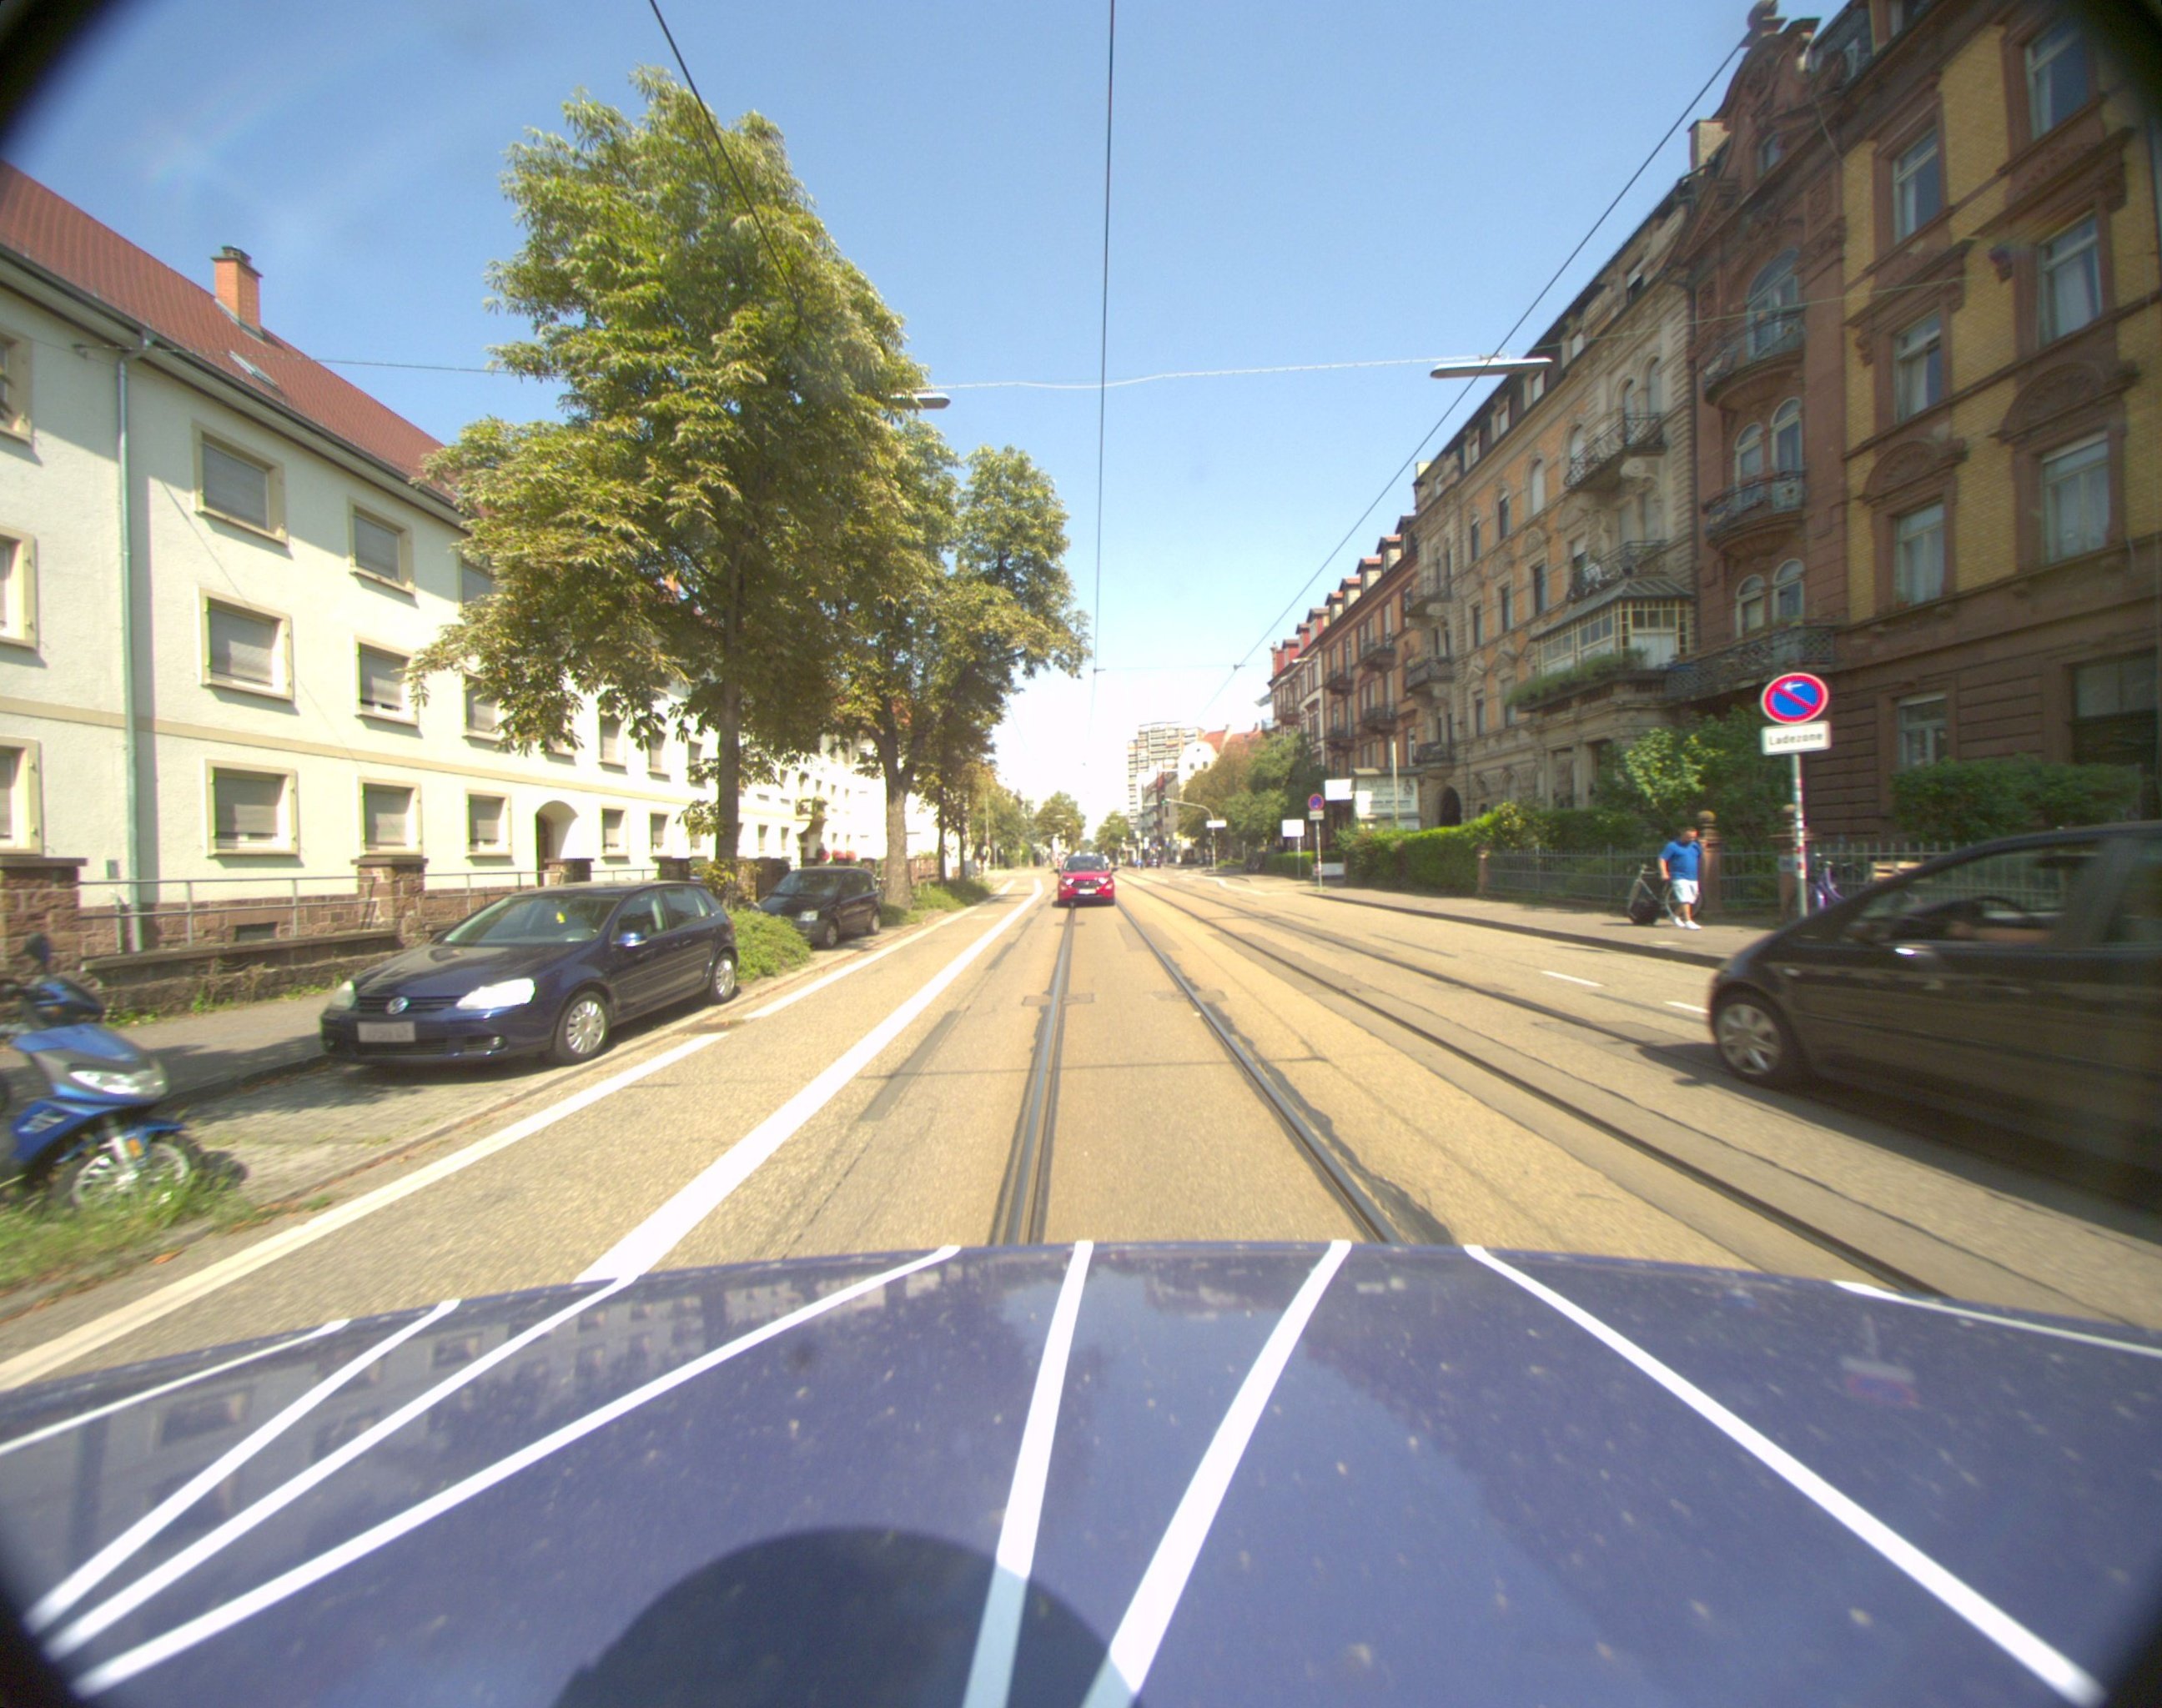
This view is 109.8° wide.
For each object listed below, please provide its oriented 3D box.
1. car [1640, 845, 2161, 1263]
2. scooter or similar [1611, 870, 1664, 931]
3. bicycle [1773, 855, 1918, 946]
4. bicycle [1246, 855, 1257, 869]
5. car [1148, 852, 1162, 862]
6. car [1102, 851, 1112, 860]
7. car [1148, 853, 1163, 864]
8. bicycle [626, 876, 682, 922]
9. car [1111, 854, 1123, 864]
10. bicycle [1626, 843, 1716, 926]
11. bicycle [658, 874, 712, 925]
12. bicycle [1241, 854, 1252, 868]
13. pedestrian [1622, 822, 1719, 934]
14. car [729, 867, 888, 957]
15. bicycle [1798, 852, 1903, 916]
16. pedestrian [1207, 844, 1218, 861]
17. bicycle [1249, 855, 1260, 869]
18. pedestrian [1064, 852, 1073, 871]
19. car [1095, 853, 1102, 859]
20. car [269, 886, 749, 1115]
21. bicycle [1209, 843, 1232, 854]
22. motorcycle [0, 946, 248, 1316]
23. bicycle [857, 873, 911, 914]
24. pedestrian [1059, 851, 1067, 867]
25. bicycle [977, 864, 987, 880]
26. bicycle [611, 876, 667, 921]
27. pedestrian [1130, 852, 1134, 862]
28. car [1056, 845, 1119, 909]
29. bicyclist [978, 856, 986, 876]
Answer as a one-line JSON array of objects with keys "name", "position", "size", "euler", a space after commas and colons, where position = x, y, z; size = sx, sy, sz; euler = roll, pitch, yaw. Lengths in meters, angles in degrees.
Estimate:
[{"name": "car", "position": [4.915, 0.735, 3.448], "size": [1.831, 1.531, 4.000], "euler": [-1, 0, 1]}, {"name": "scooter or similar", "position": [9.476, 0.776, 12.946], "size": [0.401, 0.977, 0.584], "euler": [-3, 1, -8]}, {"name": "bicycle", "position": [10.396, 0.591, 10.400], "size": [0.391, 1.141, 1.582], "euler": [-2, 0, 1]}, {"name": "bicycle", "position": [12.079, 0.567, 53.906], "size": [0.488, 0.936, 1.657], "euler": [-2, 0, 3]}, {"name": "car", "position": [12.481, 0.509, 128.135], "size": [1.998, 1.716, 4.631], "euler": [-1, 0, 1]}, {"name": "car", "position": [5.479, 0.343, 161.516], "size": [1.998, 1.716, 4.632], "euler": [-1, 0, 3]}, {"name": "car", "position": [9.571, 0.553, 97.576], "size": [1.731, 1.425, 4.177], "euler": [-2, 0, 3]}, {"name": "bicycle", "position": [-11.031, 1.141, 19.676], "size": [0.469, 1.087, 1.717], "euler": [-1, 0, -1]}, {"name": "car", "position": [6.452, 0.888, 137.254], "size": [1.998, 1.716, 4.631], "euler": [-1, 0, 2]}, {"name": "bicycle", "position": [10.547, 0.514, 13.642], "size": [0.391, 1.397, 1.582], "euler": [-2, 0, 1]}, {"name": "bicycle", "position": [-10.008, 1.124, 19.262], "size": [0.469, 1.153, 1.717], "euler": [-1, 0, -1]}, {"name": "bicycle", "position": [12.344, 0.489, 56.788], "size": [0.488, 1.015, 1.778], "euler": [-2, 0, 3]}, {"name": "pedestrian", "position": [9.676, 0.380, 12.506], "size": [0.885, 1.746, 0.870], "euler": [-2, 1, 0]}, {"name": "car", "position": [-5.354, 1.072, 15.415], "size": [1.620, 1.521, 3.500], "euler": [0, 0, 7]}, {"name": "bicycle", "position": [13.052, 0.500, 12.905], "size": [1.403, 1.026, 0.391], "euler": [-2, 0, -2]}, {"name": "pedestrian", "position": [16.344, -0.216, 94.594], "size": [1.094, 2.002, 1.036], "euler": [-3, 1, 0]}, {"name": "bicycle", "position": [11.908, 0.539, 52.189], "size": [0.488, 0.980, 1.657], "euler": [-2, 0, 3]}, {"name": "pedestrian", "position": [-1.322, 0.788, 79.997], "size": [0.676, 1.874, 0.921], "euler": [-2, 0, -17]}, {"name": "car", "position": [5.144, 0.446, 218.664], "size": [1.998, 1.716, 4.631], "euler": [-1, 0, 1]}, {"name": "car", "position": [-4.982, 1.136, 7.465], "size": [1.621, 1.468, 4.039], "euler": [0, 0, 0]}, {"name": "bicycle", "position": [20.740, -0.816, 113.094], "size": [1.225, 1.428, 3.476], "euler": [-2, 0, -40]}, {"name": "motorcycle", "position": [-5.149, 1.161, 3.336], "size": [2.009, 1.360, 0.782], "euler": [-1, 1, -3]}, {"name": "bicycle", "position": [-5.598, 1.107, 21.608], "size": [1.395, 1.102, 0.388], "euler": [-2, 1, -35]}, {"name": "pedestrian", "position": [-1.996, 0.562, 86.104], "size": [0.674, 1.874, 0.923], "euler": [-2, 0, 11]}, {"name": "bicycle", "position": [-7.234, 1.305, 55.537], "size": [0.441, 1.041, 1.829], "euler": [-1, 0, 0]}, {"name": "bicycle", "position": [-11.634, 1.155, 20.061], "size": [0.469, 1.087, 1.717], "euler": [-1, 0, -1]}, {"name": "pedestrian", "position": [6.514, 0.370, 96.458], "size": [0.480, 1.243, 0.648], "euler": [-2, 0, 1]}, {"name": "car", "position": [0.211, 0.675, 24.721], "size": [1.803, 1.801, 4.416], "euler": [-3, 0, 0]}, {"name": "bicyclist", "position": [-7.249, 0.875, 55.606], "size": [0.438, 1.503, 0.472], "euler": [-1, 1, 0]}]
